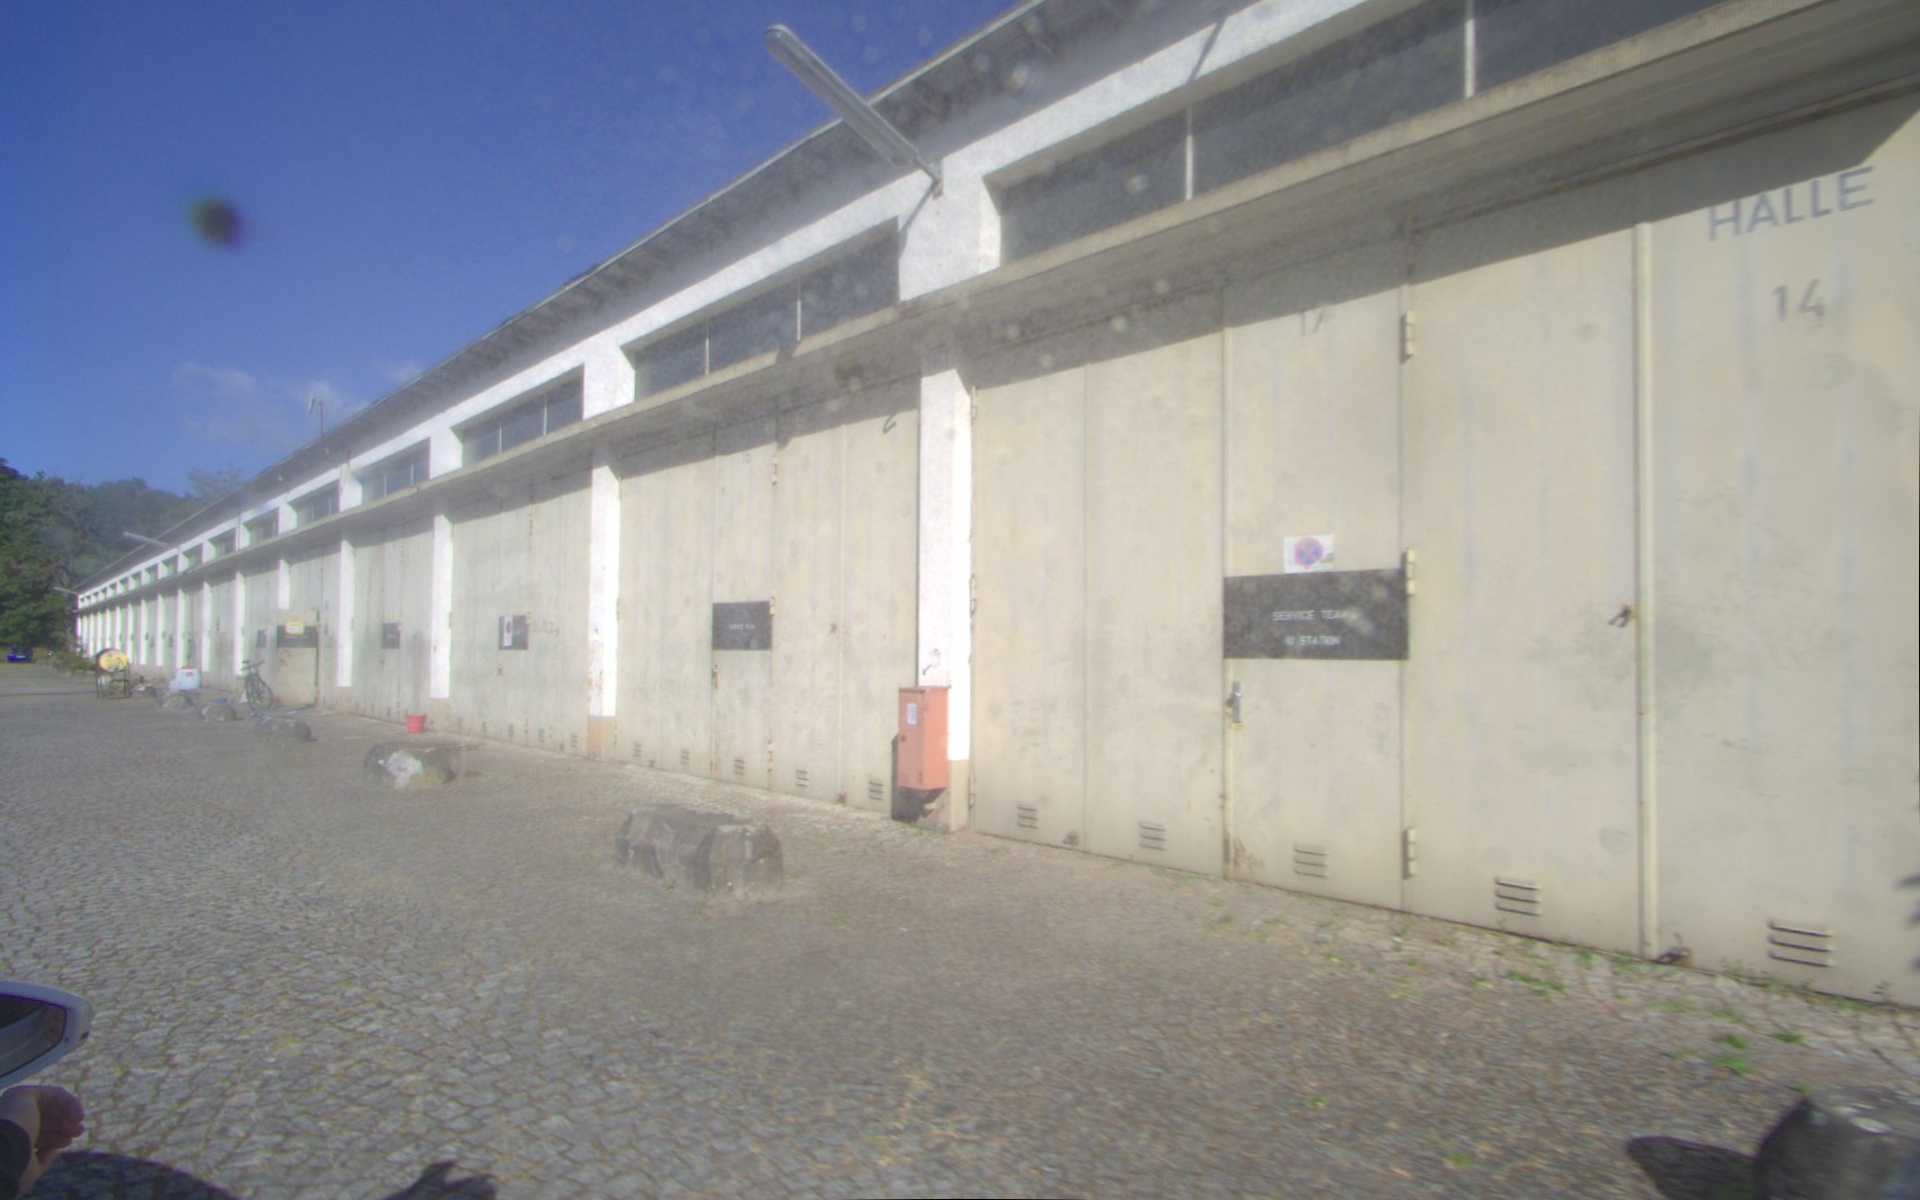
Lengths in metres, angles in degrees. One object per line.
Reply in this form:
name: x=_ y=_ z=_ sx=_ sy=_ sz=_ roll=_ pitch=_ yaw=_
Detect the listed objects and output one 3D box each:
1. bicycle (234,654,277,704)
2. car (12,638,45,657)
bicycle: x=-15.914 y=1.783 z=22.658 sx=0.658 sy=1.081 sz=1.814 roll=3 pitch=-4 yaw=-32
car: x=-80.521 y=4.135 z=86.604 sx=1.731 sy=1.454 sz=4.148 roll=5 pitch=-4 yaw=-39
